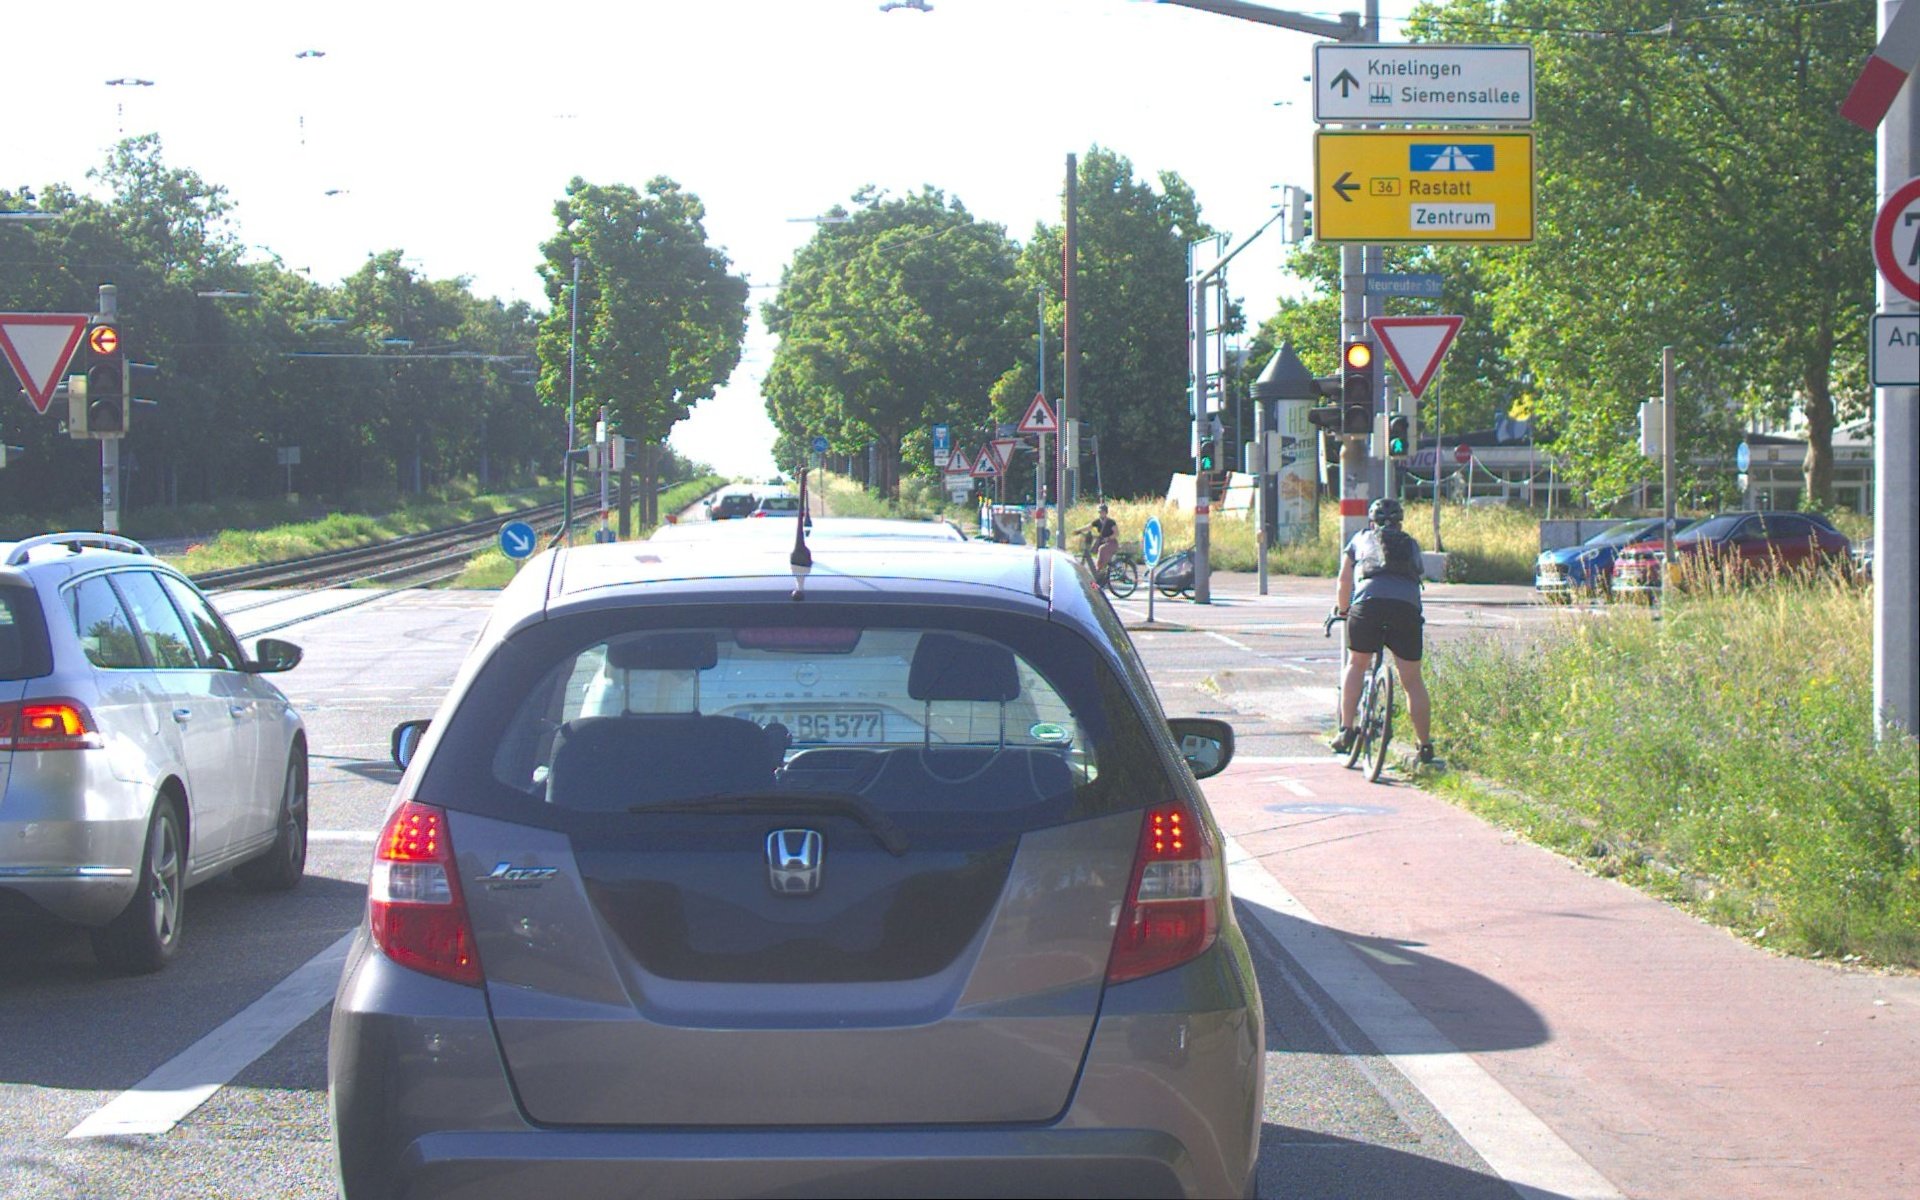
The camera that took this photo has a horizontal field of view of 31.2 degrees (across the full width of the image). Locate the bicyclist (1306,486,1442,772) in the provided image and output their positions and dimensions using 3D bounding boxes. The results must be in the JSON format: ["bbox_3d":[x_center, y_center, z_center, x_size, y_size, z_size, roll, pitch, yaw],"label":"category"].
[{"bbox_3d":[2.540,0.168,21.179,0.666,1.710,0.948,1,0,-1],"label":"bicyclist"}]

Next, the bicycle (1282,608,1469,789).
[{"bbox_3d":[2.529,0.572,21.264,0.722,0.985,2.876,1,1,-1],"label":"bicycle"}]

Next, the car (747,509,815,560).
[{"bbox_3d":[-5.298,-1.941,101.385,1.709,1.473,4.001,-1,1,-7],"label":"car"}]

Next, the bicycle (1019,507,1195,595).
[{"bbox_3d":[2.700,-0.908,62.915,3.203,1.569,0.821,-1,1,-25],"label":"bicycle"}]

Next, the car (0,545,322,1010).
[{"bbox_3d":[-3.532,0.525,12.793,1.619,1.452,4.085,1,1,-1],"label":"car"}]

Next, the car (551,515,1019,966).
[{"bbox_3d":[-0.648,0.446,14.011,1.611,1.557,4.288,0,1,-1],"label":"car"}]

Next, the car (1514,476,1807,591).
[{"bbox_3d":[12.278,-1.148,60.267,4.686,1.873,2.001,1,1,-23],"label":"car"}]

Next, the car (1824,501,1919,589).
[{"bbox_3d":[17.825,-1.029,62.981,3.742,1.564,1.491,-1,1,-23],"label":"car"}]

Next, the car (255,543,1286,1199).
[{"bbox_3d":[-0.394,0.616,7.376,1.668,1.457,3.587,0,1,-3],"label":"car"}]

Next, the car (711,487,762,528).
[{"bbox_3d":[-7.670,-3.161,117.699,1.522,1.374,3.677,-1,1,-7],"label":"car"}]

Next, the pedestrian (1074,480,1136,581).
[{"bbox_3d":[2.642,-1.273,62.895,0.852,1.830,0.791,-1,1,-26],"label":"pedestrian"}]

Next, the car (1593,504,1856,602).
[{"bbox_3d":[12.450,-0.779,55.984,3.986,1.525,1.606,-1,1,-23],"label":"car"}]
